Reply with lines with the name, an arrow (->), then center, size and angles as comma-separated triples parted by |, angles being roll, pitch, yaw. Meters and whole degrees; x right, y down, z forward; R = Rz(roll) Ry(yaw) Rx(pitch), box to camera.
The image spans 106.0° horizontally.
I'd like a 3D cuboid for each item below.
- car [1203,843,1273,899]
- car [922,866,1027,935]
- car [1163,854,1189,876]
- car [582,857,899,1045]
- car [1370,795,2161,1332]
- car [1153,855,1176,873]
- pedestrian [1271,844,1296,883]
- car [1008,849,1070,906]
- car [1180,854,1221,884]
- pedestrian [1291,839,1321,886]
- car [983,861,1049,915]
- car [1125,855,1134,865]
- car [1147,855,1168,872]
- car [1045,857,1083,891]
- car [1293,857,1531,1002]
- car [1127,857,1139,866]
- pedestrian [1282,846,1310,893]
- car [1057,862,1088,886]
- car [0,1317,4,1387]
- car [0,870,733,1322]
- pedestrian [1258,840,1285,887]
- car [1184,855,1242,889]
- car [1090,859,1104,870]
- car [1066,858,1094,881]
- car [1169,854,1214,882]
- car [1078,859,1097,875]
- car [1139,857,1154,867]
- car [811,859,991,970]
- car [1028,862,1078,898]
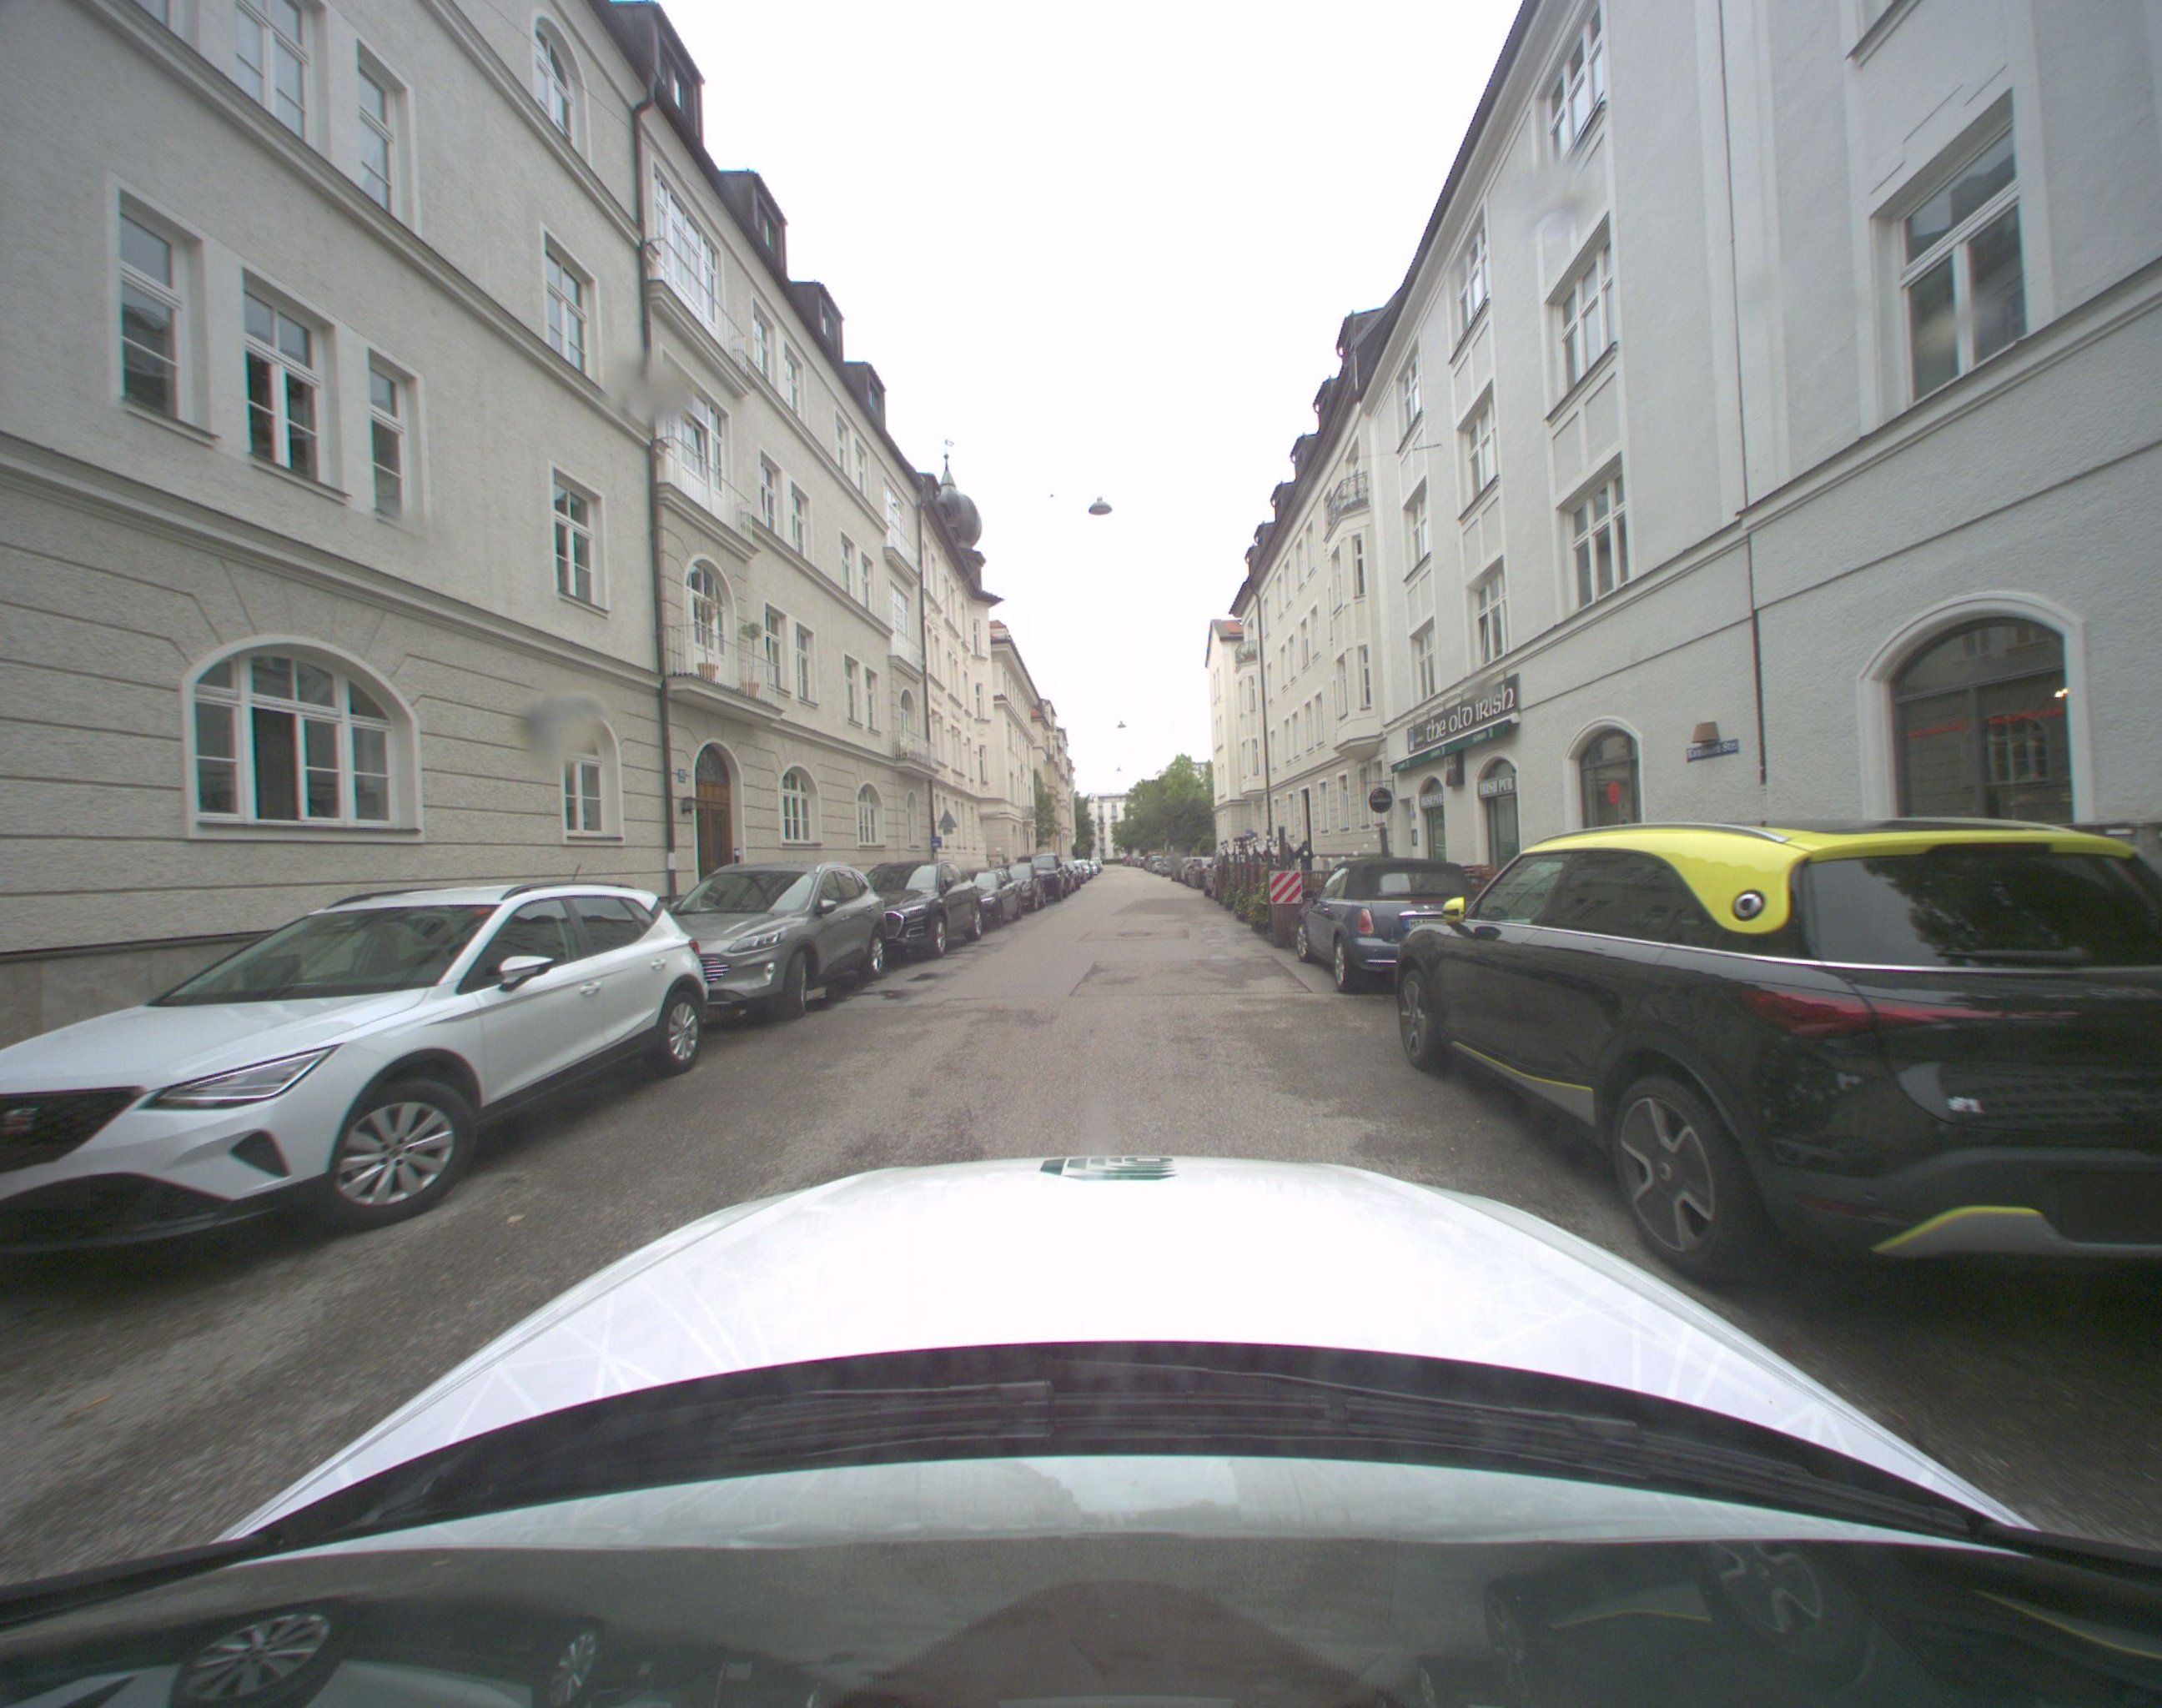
car -> 5.277, 0.538, 27.872 | 1.792, 1.675, 4.193 | -3, 0, 4
car -> -2.572, 1.087, 20.576 | 1.646, 1.407, 4.098 | -4, -1, 5
car -> 7.280, 0.820, 62.460 | 1.814, 1.569, 4.406 | 0, 0, 4
car -> -3.703, 0.933, 9.831 | 1.829, 1.677, 4.215 | -3, 0, 2
car -> 3.102, 0.626, 4.520 | 1.828, 1.618, 4.099 | 0, 0, 4
car -> 7.479, 0.919, 73.402 | 1.777, 1.504, 4.067 | -2, 0, 2
pedestrian -> 9.590, 0.444, 38.554 | 0.879, 1.813, 1.112 | -3, 0, 3
car -> -1.541, 0.849, 31.656 | 1.829, 1.894, 4.766 | -5, 0, 2
car -> 6.294, 0.763, 43.371 | 1.753, 1.485, 4.424 | 0, 0, 3
pedestrian -> 8.845, 0.333, 32.031 | 0.879, 1.786, 1.113 | -3, 0, 5
car -> -2.040, 1.057, 26.528 | 1.610, 1.513, 3.534 | -4, 0, 2
car -> 9.992, 1.222, 167.949 | 1.828, 1.927, 4.009 | 0, 0, 4
car -> 8.007, 0.966, 85.723 | 1.745, 1.610, 4.422 | -1, 0, -1
car -> -0.874, 1.031, 43.560 | 1.721, 1.618, 4.122 | -5, -1, 1
car -> 3.713, 0.747, 9.778 | 1.659, 1.400, 3.497 | 0, 0, 4
car -> 9.989, 1.466, 157.125 | 1.833, 1.519, 3.945 | -2, -1, -1
pedestrian -> 9.548, 0.697, 36.218 | 0.879, 2.013, 1.112 | -3, 0, 3
car -> -0.527, 1.326, 54.832 | 1.786, 1.415, 4.281 | -5, -1, 2
car -> -4.368, 1.041, 0.356 | 1.674, 1.393, 4.481 | -4, 0, 2
car -> -3.836, 0.936, 4.946 | 1.689, 1.568, 3.950 | -3, -1, 0
pedestrian -> 7.571, 0.375, 32.436 | 0.878, 1.811, 1.113 | -3, 0, 7
car -> 6.025, 0.795, 37.720 | 1.831, 1.399, 4.971 | -1, 0, -1
car -> 2.424, 1.599, 121.045 | 1.829, 1.438, 4.278 | -6, 0, 3
car -> -0.055, 1.182, 64.870 | 1.907, 1.618, 4.575 | -3, 0, 3
car -> 6.508, 0.811, 48.325 | 1.987, 1.457, 4.712 | -3, 0, 0
car -> 0.700, 1.372, 85.389 | 1.830, 1.434, 4.245 | -5, 0, 1
car -> 9.494, 1.189, 118.266 | 1.831, 1.413, 4.345 | -2, -1, 2
car -> -3.058, 0.963, 14.913 | 1.867, 1.599, 4.440 | -3, 0, 5
car -> -1.228, 1.149, 37.603 | 1.828, 1.394, 4.248 | -5, 0, 3
